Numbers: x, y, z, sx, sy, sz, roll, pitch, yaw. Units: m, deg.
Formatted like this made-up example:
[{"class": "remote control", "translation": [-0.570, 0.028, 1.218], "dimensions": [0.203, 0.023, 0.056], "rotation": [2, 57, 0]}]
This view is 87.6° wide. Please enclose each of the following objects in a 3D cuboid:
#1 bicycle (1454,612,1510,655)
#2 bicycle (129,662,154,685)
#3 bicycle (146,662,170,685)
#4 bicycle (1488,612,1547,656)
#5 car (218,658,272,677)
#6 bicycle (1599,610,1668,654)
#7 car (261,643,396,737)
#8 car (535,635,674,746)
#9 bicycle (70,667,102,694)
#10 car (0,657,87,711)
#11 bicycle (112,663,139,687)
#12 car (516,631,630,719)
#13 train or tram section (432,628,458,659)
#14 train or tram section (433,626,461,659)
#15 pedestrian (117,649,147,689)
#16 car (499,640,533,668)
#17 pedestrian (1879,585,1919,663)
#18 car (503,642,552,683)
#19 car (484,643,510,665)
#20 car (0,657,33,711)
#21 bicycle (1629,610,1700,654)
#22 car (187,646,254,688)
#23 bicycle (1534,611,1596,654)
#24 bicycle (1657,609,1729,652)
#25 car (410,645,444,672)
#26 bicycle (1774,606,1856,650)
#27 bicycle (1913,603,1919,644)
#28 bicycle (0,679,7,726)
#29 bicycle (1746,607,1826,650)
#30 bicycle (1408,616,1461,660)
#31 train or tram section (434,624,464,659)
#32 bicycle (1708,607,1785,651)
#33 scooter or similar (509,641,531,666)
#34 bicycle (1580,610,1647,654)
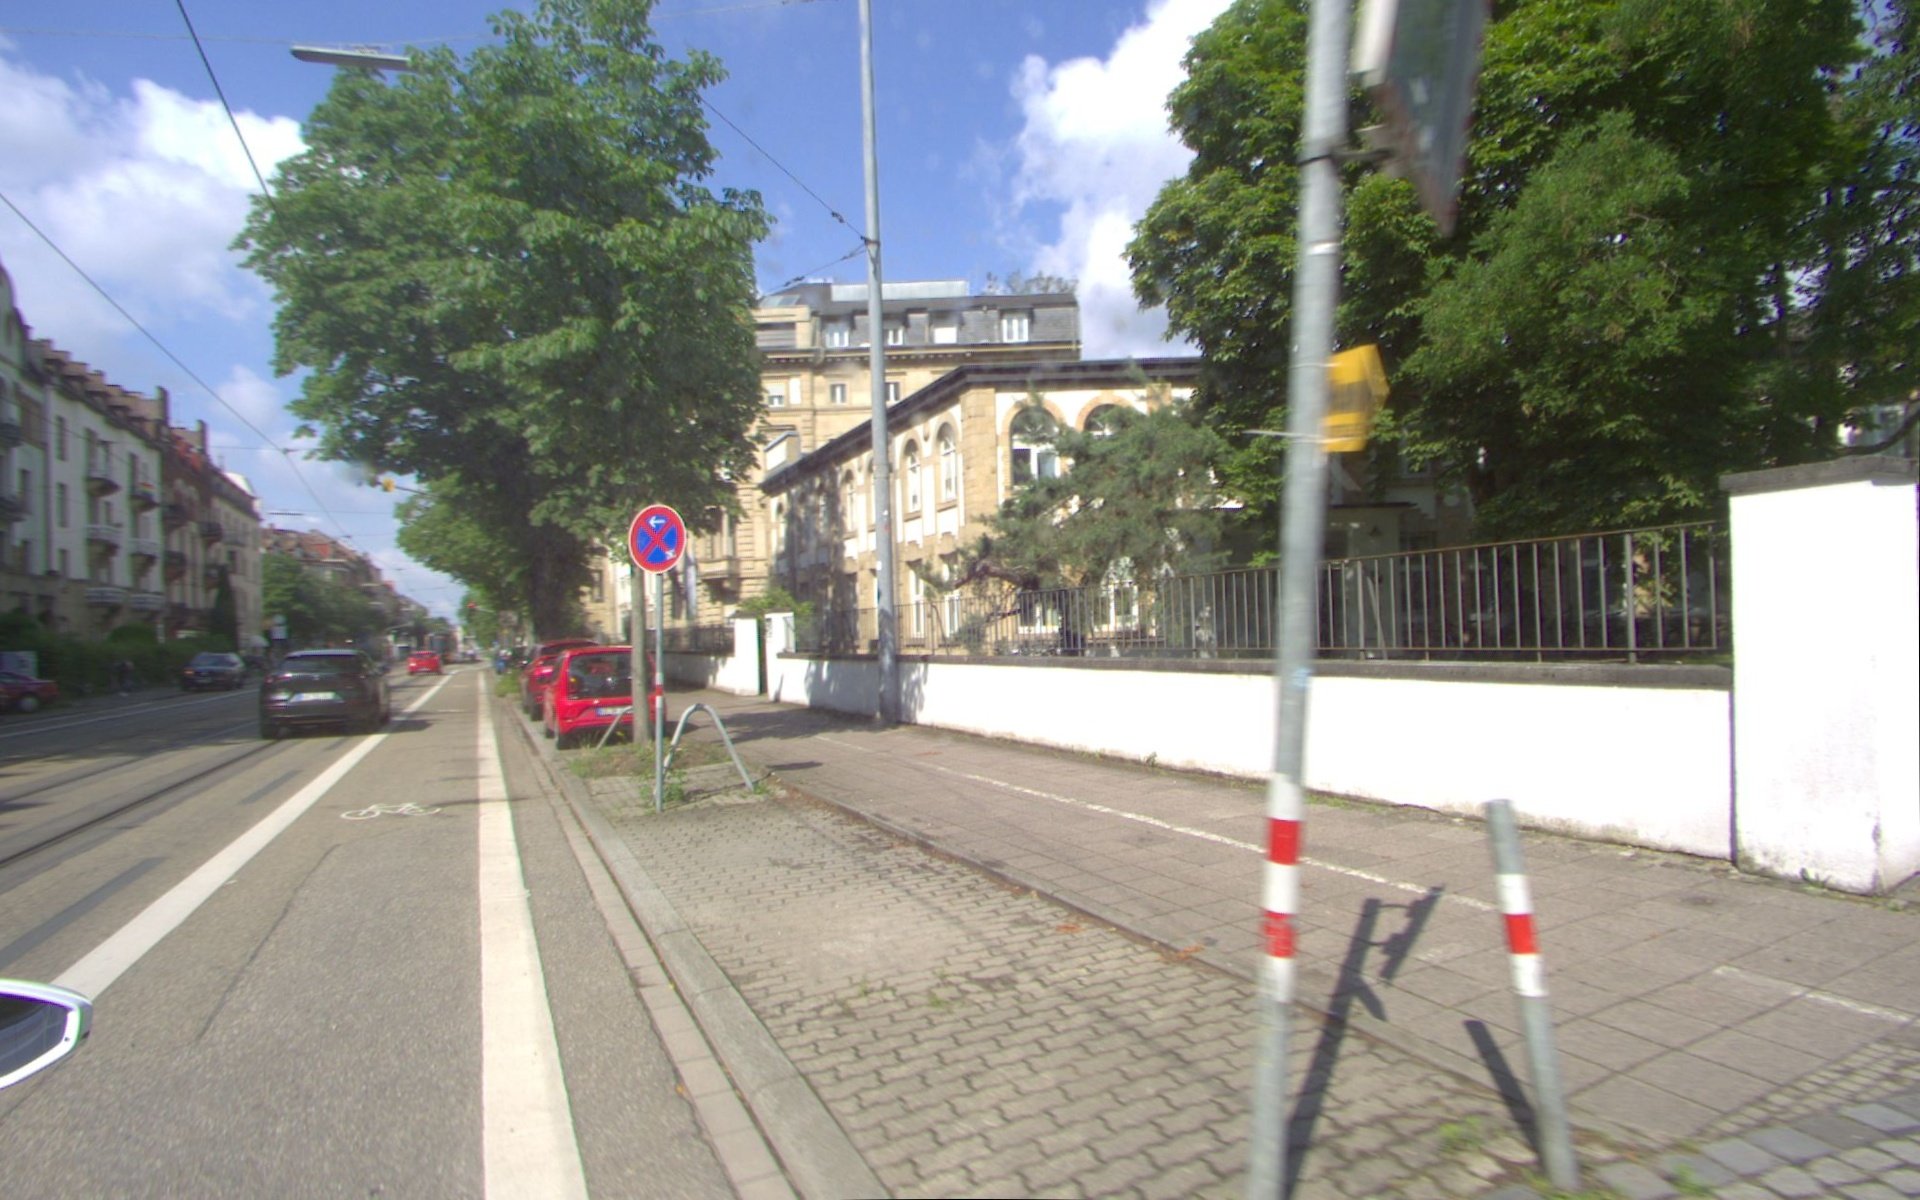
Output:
[{"class": "bicycle", "translation": [12.554, 0.794, 24.137], "dimensions": [0.419, 1.000, 1.821], "rotation": [0, 0, 1]}, {"class": "bicycle", "translation": [-36.372, 3.253, 44.494], "dimensions": [0.378, 0.971, 1.804], "rotation": [1, -2, -24]}, {"class": "bicycle", "translation": [-37.213, 3.399, 46.452], "dimensions": [0.378, 0.971, 1.915], "rotation": [1, -2, -24]}, {"class": "bicycle", "translation": [13.342, 0.795, 24.024], "dimensions": [0.419, 1.000, 1.821], "rotation": [0, 0, 1]}, {"class": "car", "translation": [-57.521, 5.415, 80.562], "dimensions": [3.194, 1.532, 1.674], "rotation": [1, -3, -23]}, {"class": "bicycle", "translation": [16.052, 0.744, 23.908], "dimensions": [0.419, 1.000, 1.821], "rotation": [0, 0, 1]}, {"class": "car", "translation": [-11.937, 1.614, 19.178], "dimensions": [1.768, 1.531, 4.333], "rotation": [0, -2, -27]}, {"class": "car", "translation": [-5.838, 1.386, 16.194], "dimensions": [1.581, 1.447, 3.583], "rotation": [-4, -1, -27]}, {"class": "bicycle", "translation": [-33.944, 3.131, 38.902], "dimensions": [0.378, 0.971, 1.804], "rotation": [1, -2, -24]}, {"class": "car", "translation": [-29.970, 2.689, 31.043], "dimensions": [1.815, 1.503, 3.960], "rotation": [-4, -1, 21]}, {"class": "bicycle", "translation": [-35.497, 3.191, 42.602], "dimensions": [0.378, 0.971, 1.804], "rotation": [1, -2, -24]}, {"class": "car", "translation": [-8.832, 1.620, 22.635], "dimensions": [1.853, 1.698, 4.265], "rotation": [-3, -1, -28]}, {"class": "train or tram section", "translation": [-64.124, 5.423, 124.564], "dimensions": [2.621, 3.572, 8.461], "rotation": [-2, -2, -29]}, {"class": "train or tram section", "translation": [-60.088, 5.012, 117.135], "dimensions": [2.621, 3.572, 8.461], "rotation": [-2, -2, -29]}, {"class": "pedestrian", "translation": [-33.362, 2.778, 40.365], "dimensions": [0.671, 1.588, 0.879], "rotation": [1, -2, -24]}, {"class": "car", "translation": [-26.795, 3.232, 60.442], "dimensions": [1.620, 1.515, 3.613], "rotation": [-3, -1, -27]}, {"class": "pedestrian", "translation": [20.699, 0.515, 21.792], "dimensions": [0.841, 1.644, 0.570], "rotation": [-2, -1, -2]}, {"class": "car", "translation": [-18.853, 2.696, 43.568], "dimensions": [1.676, 1.611, 4.187], "rotation": [-3, -1, -27]}, {"class": "car", "translation": [-35.153, 4.112, 75.986], "dimensions": [1.603, 1.515, 3.834], "rotation": [-3, -1, -26]}, {"class": "car", "translation": [-28.882, 2.519, 28.104], "dimensions": [1.671, 1.503, 3.794], "rotation": [-4, -1, 24]}, {"class": "bicycle", "translation": [16.784, 0.740, 23.890], "dimensions": [0.419, 1.000, 1.821], "rotation": [0, 0, 1]}, {"class": "car", "translation": [-34.525, 3.093, 46.850], "dimensions": [1.764, 1.785, 4.862], "rotation": [-1, -2, -28]}, {"class": "bicycle", "translation": [14.451, 0.761, 23.963], "dimensions": [0.419, 1.000, 1.821], "rotation": [0, 0, 1]}, {"class": "bicycle", "translation": [17.507, 0.713, 23.964], "dimensions": [0.419, 1.000, 1.821], "rotation": [0, 0, 1]}, {"class": "car", "translation": [-33.143, 3.601, 62.320], "dimensions": [1.764, 1.511, 4.862], "rotation": [-1, -2, -28]}, {"class": "bicycle", "translation": [20.379, 0.659, 23.917], "dimensions": [0.419, 1.000, 1.821], "rotation": [0, 0, 1]}, {"class": "bicycle", "translation": [23.265, 0.553, 23.512], "dimensions": [0.419, 1.000, 1.458], "rotation": [0, 0, 2]}, {"class": "bicycle", "translation": [-22.057, 2.335, 22.270], "dimensions": [0.647, 1.053, 1.994], "rotation": [-2, -2, -26]}, {"class": "bicycle", "translation": [19.671, 0.667, 23.897], "dimensions": [0.419, 1.000, 1.821], "rotation": [0, 0, 1]}, {"class": "bicycle", "translation": [11.359, 0.886, 24.009], "dimensions": [0.419, 1.000, 1.821], "rotation": [0, 0, 1]}, {"class": "train or tram section", "translation": [-56.078, 4.602, 109.700], "dimensions": [2.621, 3.572, 8.461], "rotation": [-2, -2, -29]}, {"class": "bicycle", "translation": [18.704, 0.681, 23.844], "dimensions": [0.419, 1.000, 1.821], "rotation": [0, 0, 1]}, {"class": "scooter or similar", "translation": [-23.825, 2.917, 54.215], "dimensions": [1.166, 1.317, 0.439], "rotation": [-2, 2, 34]}, {"class": "bicycle", "translation": [15.523, 0.750, 23.830], "dimensions": [0.419, 1.000, 1.821], "rotation": [0, 0, 1]}]
